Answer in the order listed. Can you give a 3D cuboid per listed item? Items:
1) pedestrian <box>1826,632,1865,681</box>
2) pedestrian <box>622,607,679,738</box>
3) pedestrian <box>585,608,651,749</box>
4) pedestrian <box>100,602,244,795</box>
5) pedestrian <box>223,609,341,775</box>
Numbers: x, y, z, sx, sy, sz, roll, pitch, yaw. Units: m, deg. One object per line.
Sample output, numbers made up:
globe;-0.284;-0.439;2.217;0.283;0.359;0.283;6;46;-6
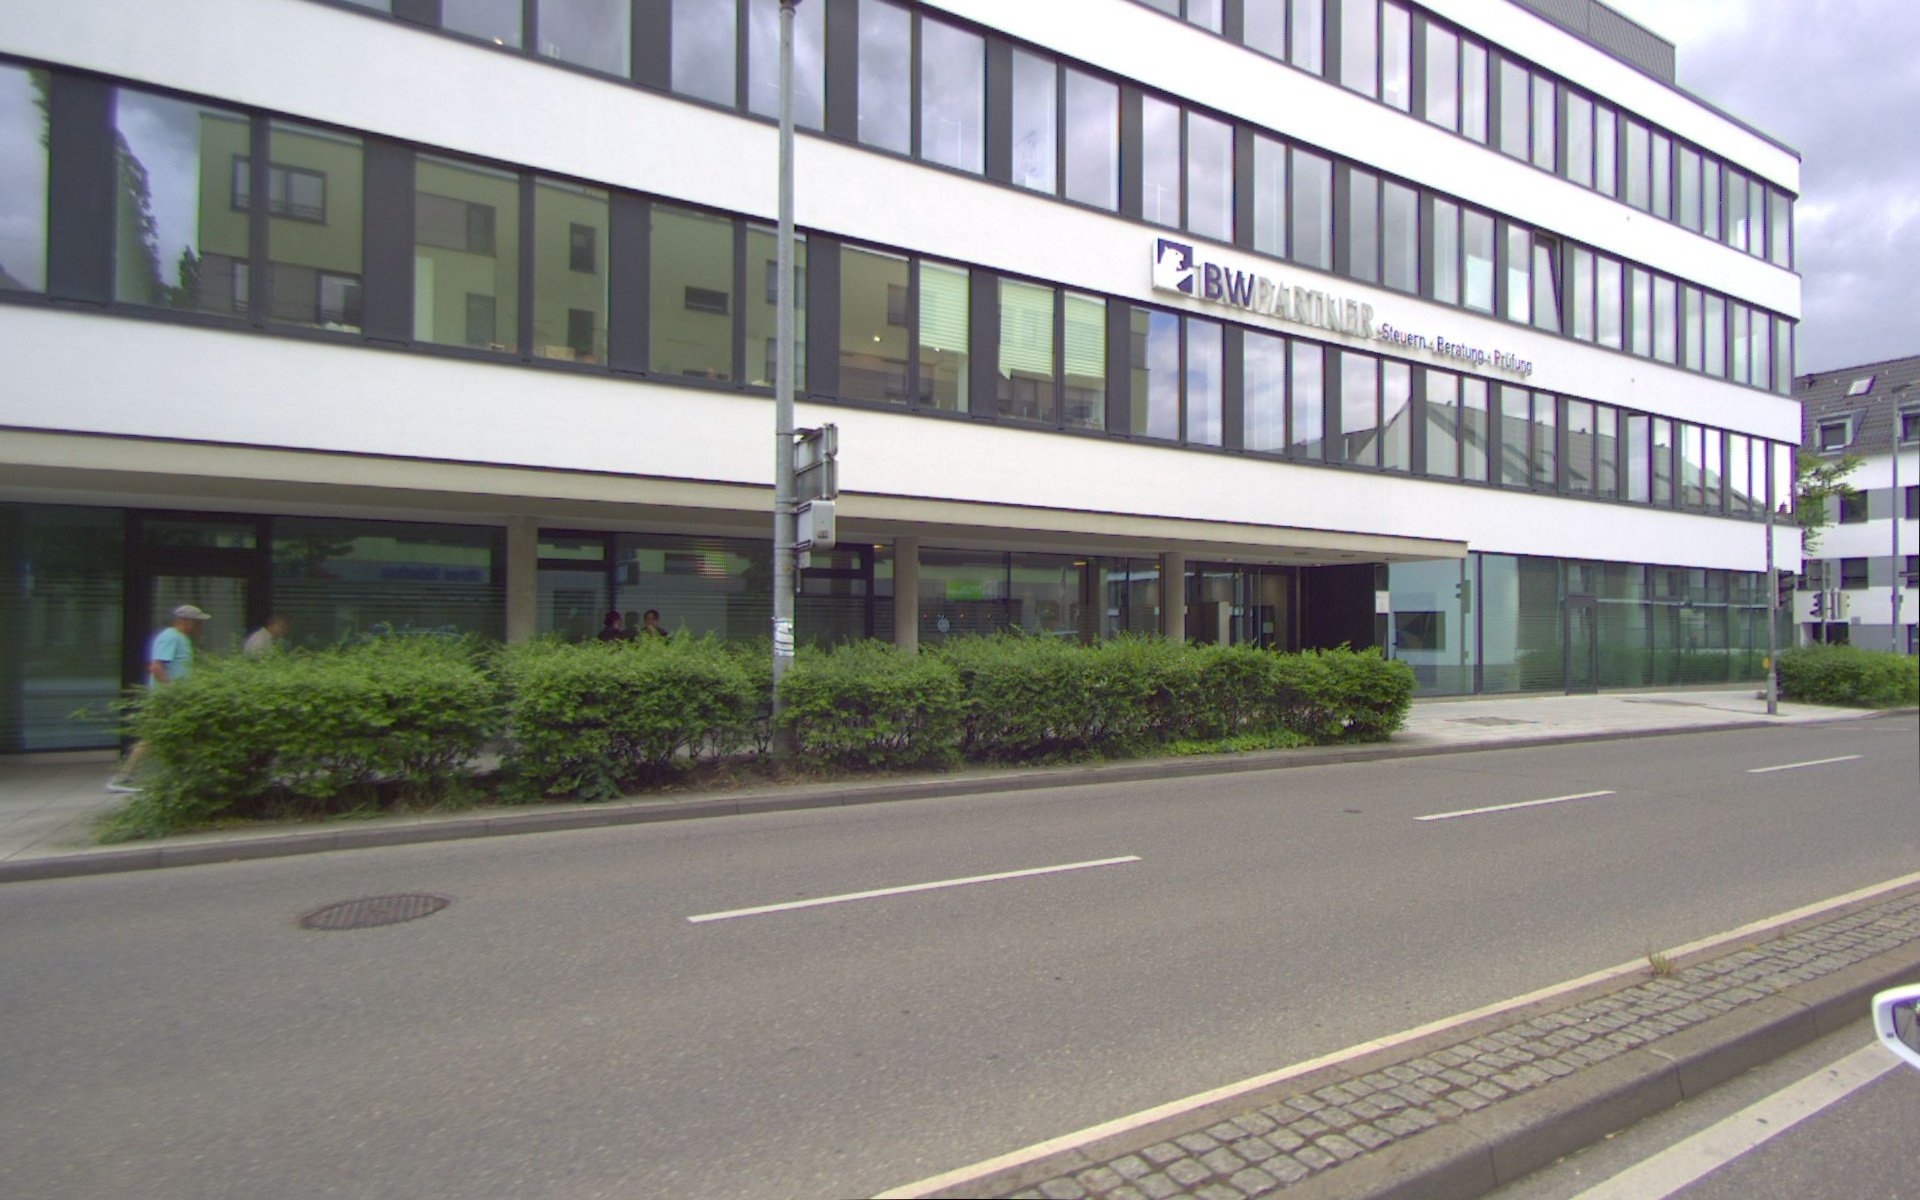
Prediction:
pedestrian;31.863;2.018;36.143;0.869;1.692;0.812;-2;0;30
pedestrian;-4.234;0.979;13.773;0.603;1.752;0.506;0;-1;1
pedestrian;-4.328;0.971;12.723;0.604;1.732;0.505;0;-1;30
pedestrian;-7.325;0.878;9.384;0.919;1.696;0.727;1;0;-28
pedestrian;-7.062;0.922;10.504;0.919;1.635;0.727;1;0;-28
